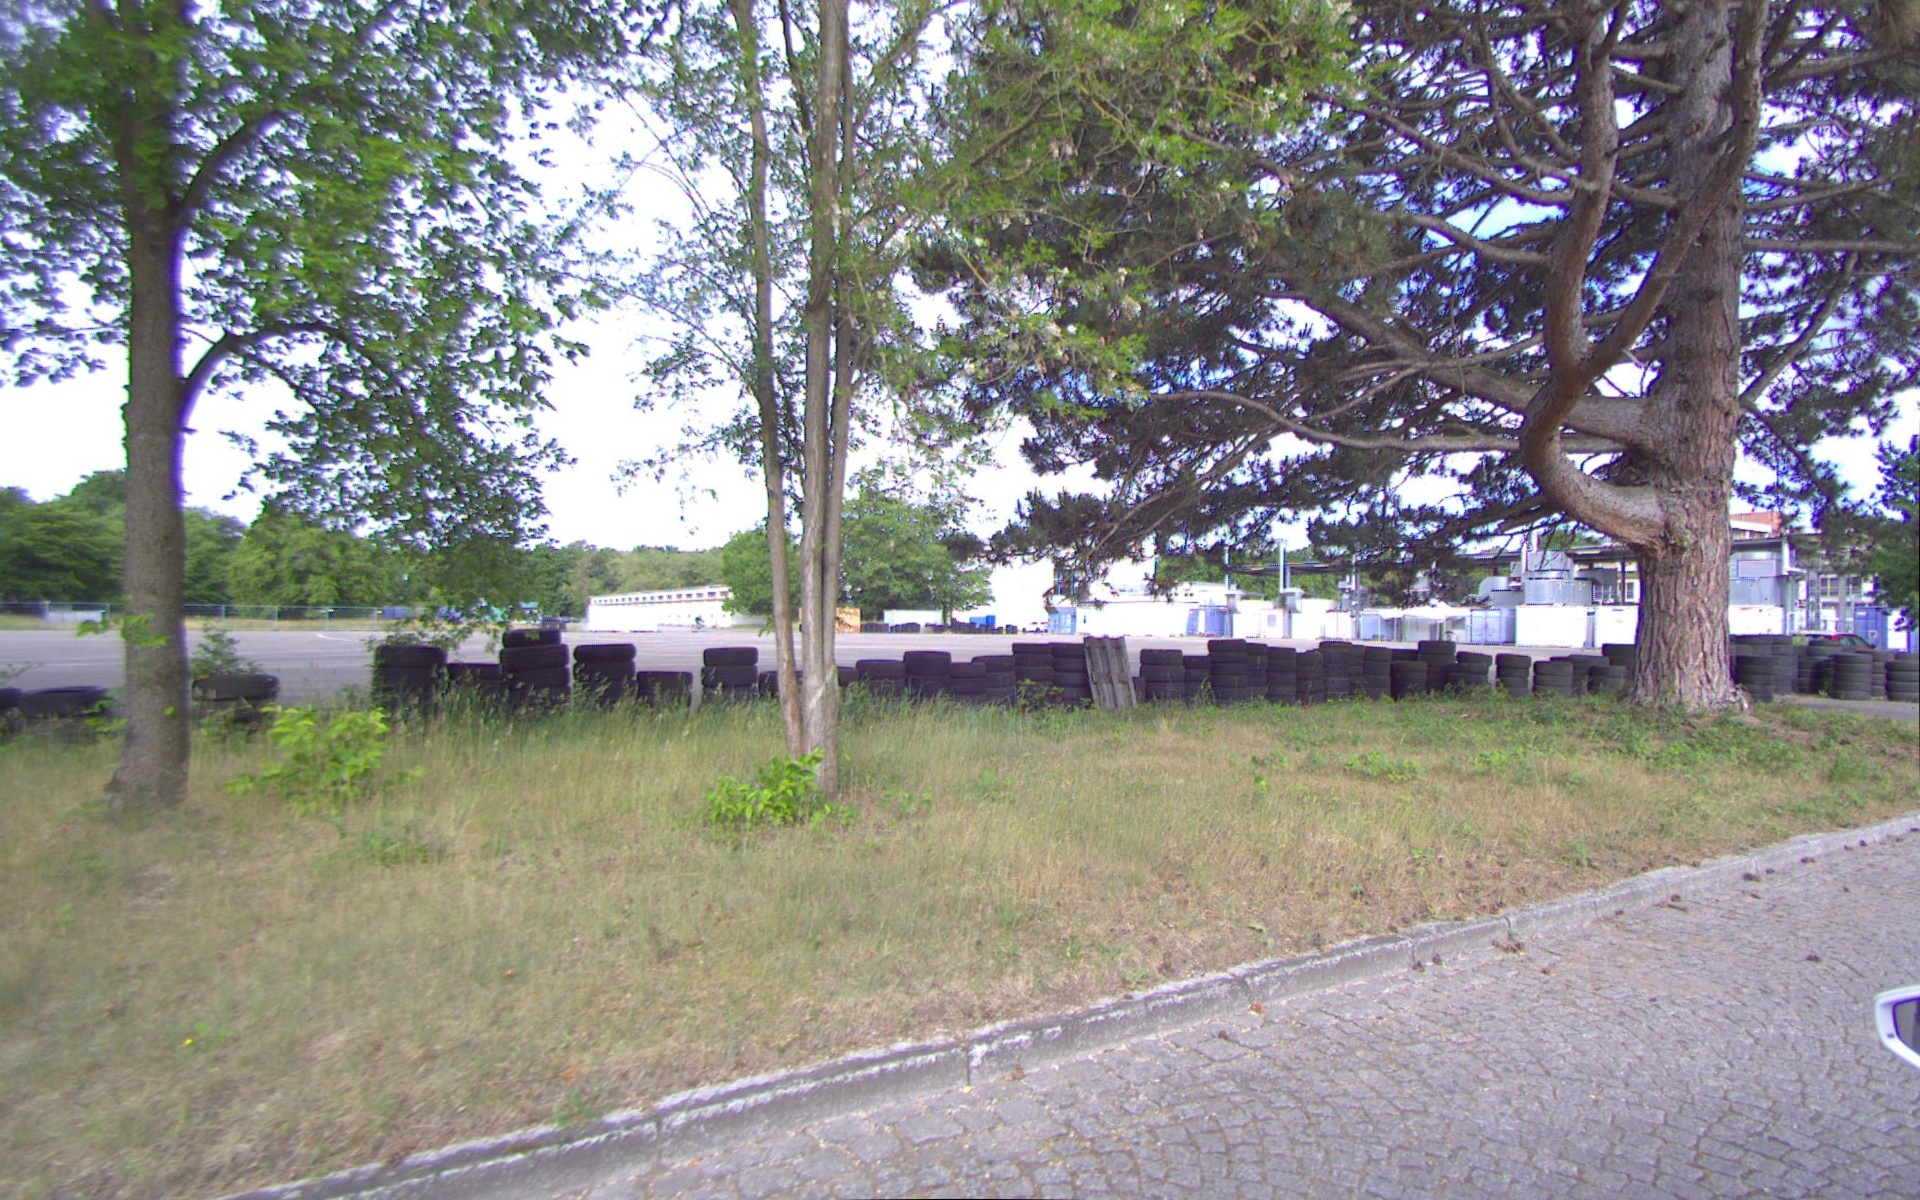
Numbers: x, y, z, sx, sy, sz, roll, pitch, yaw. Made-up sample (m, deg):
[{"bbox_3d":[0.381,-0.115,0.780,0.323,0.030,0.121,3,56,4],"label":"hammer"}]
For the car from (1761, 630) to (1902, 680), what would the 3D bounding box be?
[{"bbox_3d":[27.393,1.706,31.552,4.161,1.450,1.819,1,-1,-25],"label":"car"}]
